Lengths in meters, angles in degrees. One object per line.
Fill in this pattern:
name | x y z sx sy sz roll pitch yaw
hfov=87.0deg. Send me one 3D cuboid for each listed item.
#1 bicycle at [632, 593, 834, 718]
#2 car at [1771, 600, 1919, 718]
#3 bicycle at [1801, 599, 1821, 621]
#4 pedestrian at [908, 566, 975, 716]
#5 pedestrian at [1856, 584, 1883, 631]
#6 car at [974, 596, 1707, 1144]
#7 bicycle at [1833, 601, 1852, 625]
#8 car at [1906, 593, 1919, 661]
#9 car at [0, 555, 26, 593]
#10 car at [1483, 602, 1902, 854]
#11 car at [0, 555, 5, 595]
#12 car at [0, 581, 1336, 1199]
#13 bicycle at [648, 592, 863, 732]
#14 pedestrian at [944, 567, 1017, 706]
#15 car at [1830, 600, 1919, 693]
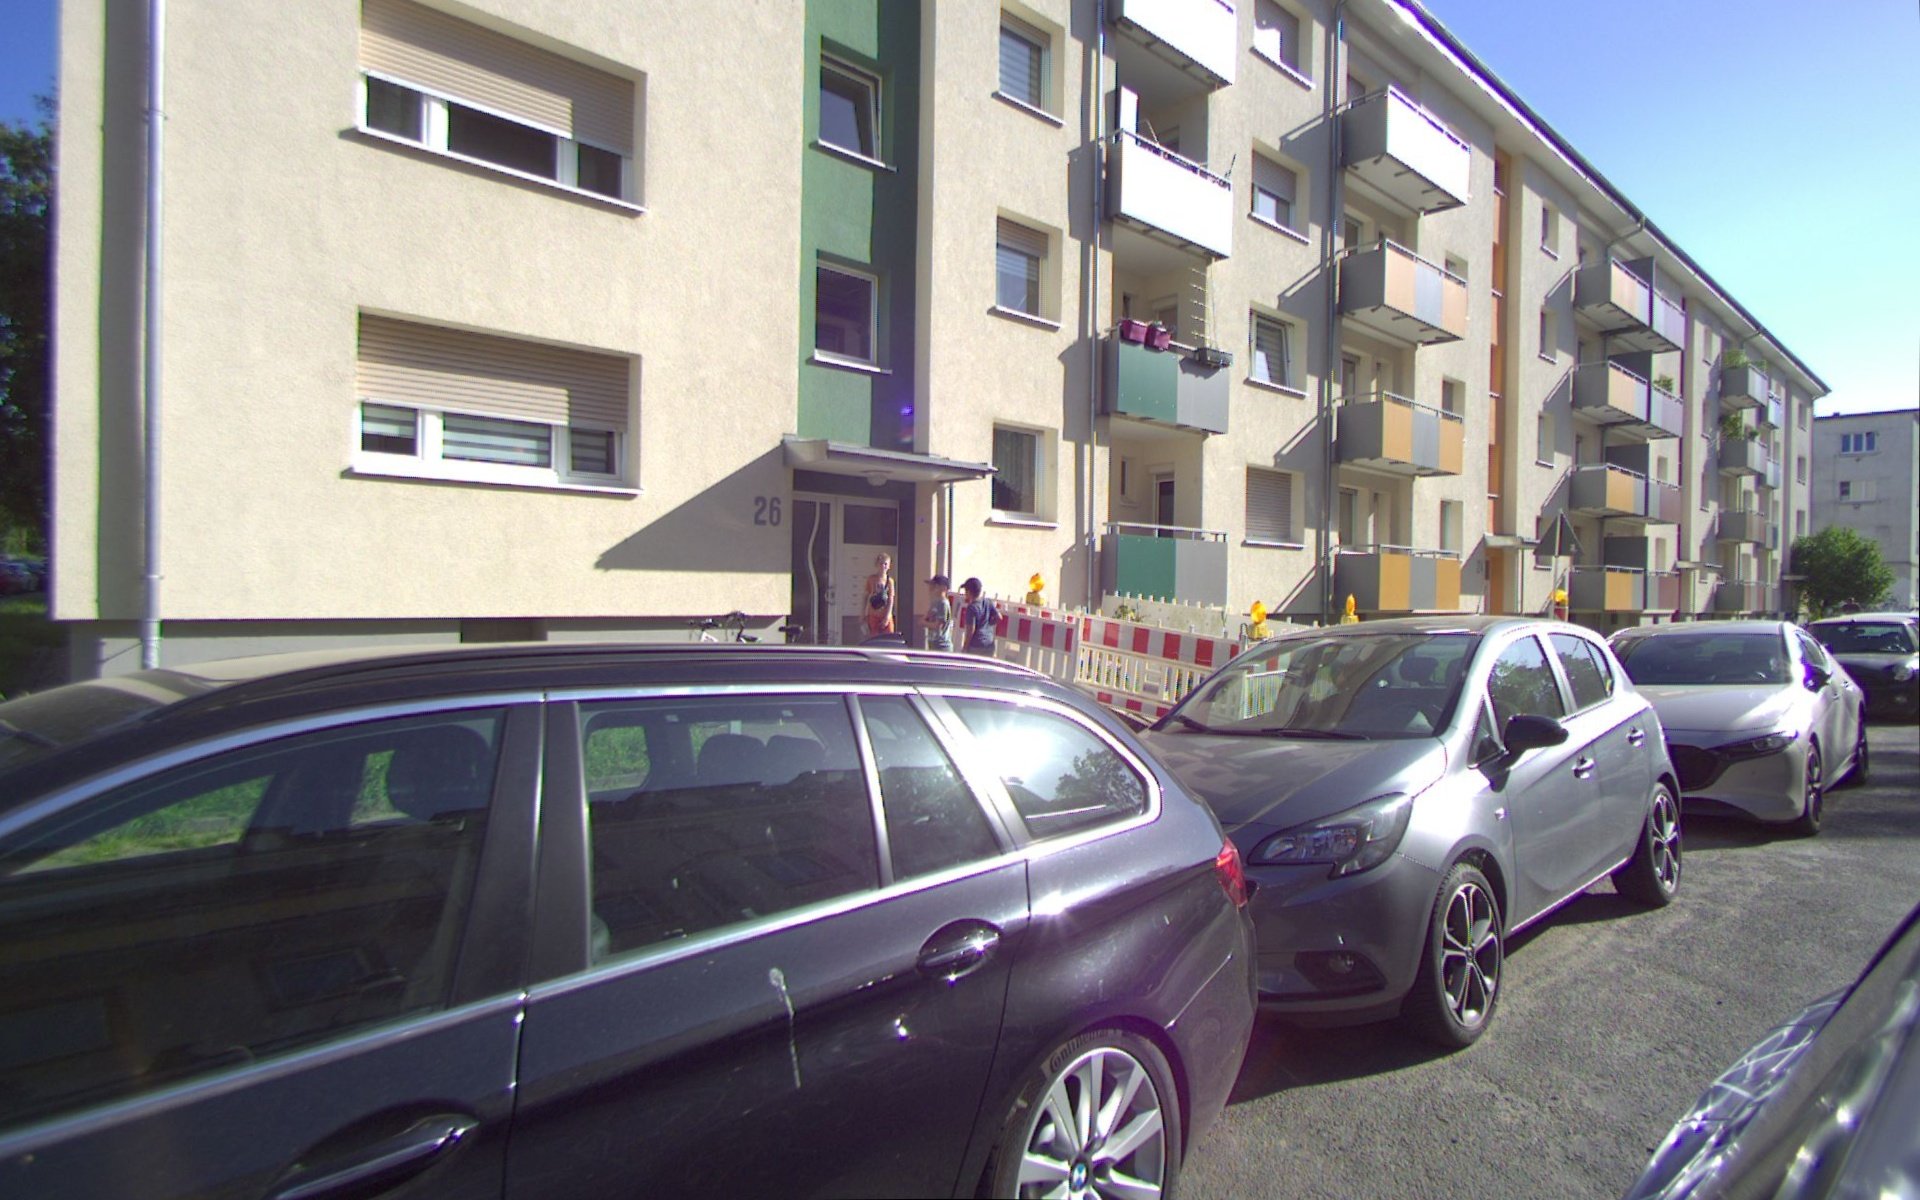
bicycle | -2.159 0.505 9.807 1.865 1.074 0.447 1 6 -41
car | 13.221 0.776 14.628 3.520 1.486 1.690 -1 -2 -41
bicycle | 39.945 0.462 47.496 0.485 0.972 2.247 3 2 45
pedestrian | -0.177 0.393 10.171 0.447 1.451 0.504 3 1 25
pedestrian | 35.176 0.285 39.144 0.826 1.793 0.646 0 1 -39
car | 2.034 0.752 4.760 3.872 1.478 1.647 -1 1 -42
bicycle | 40.621 0.595 46.593 0.485 1.024 2.247 3 2 45
car | 25.226 0.636 25.371 4.525 1.642 1.900 0 -1 -43
car | -40.003 -1.110 41.792 1.653 1.515 3.813 0 1 -36
car | 6.115 0.814 8.251 4.263 1.490 1.794 -1 -2 -41
car | -36.637 -0.917 37.263 1.653 1.515 3.813 0 1 -36
car | -1.300 0.743 1.664 1.854 1.542 4.701 1 1 45
bicycle | -1.856 0.531 9.386 1.865 1.132 0.561 1 6 -41
pedestrian | 0.227 0.382 11.002 0.566 1.451 0.471 1 2 -38
car | 16.852 0.771 18.063 3.757 1.481 1.687 0 1 -45
